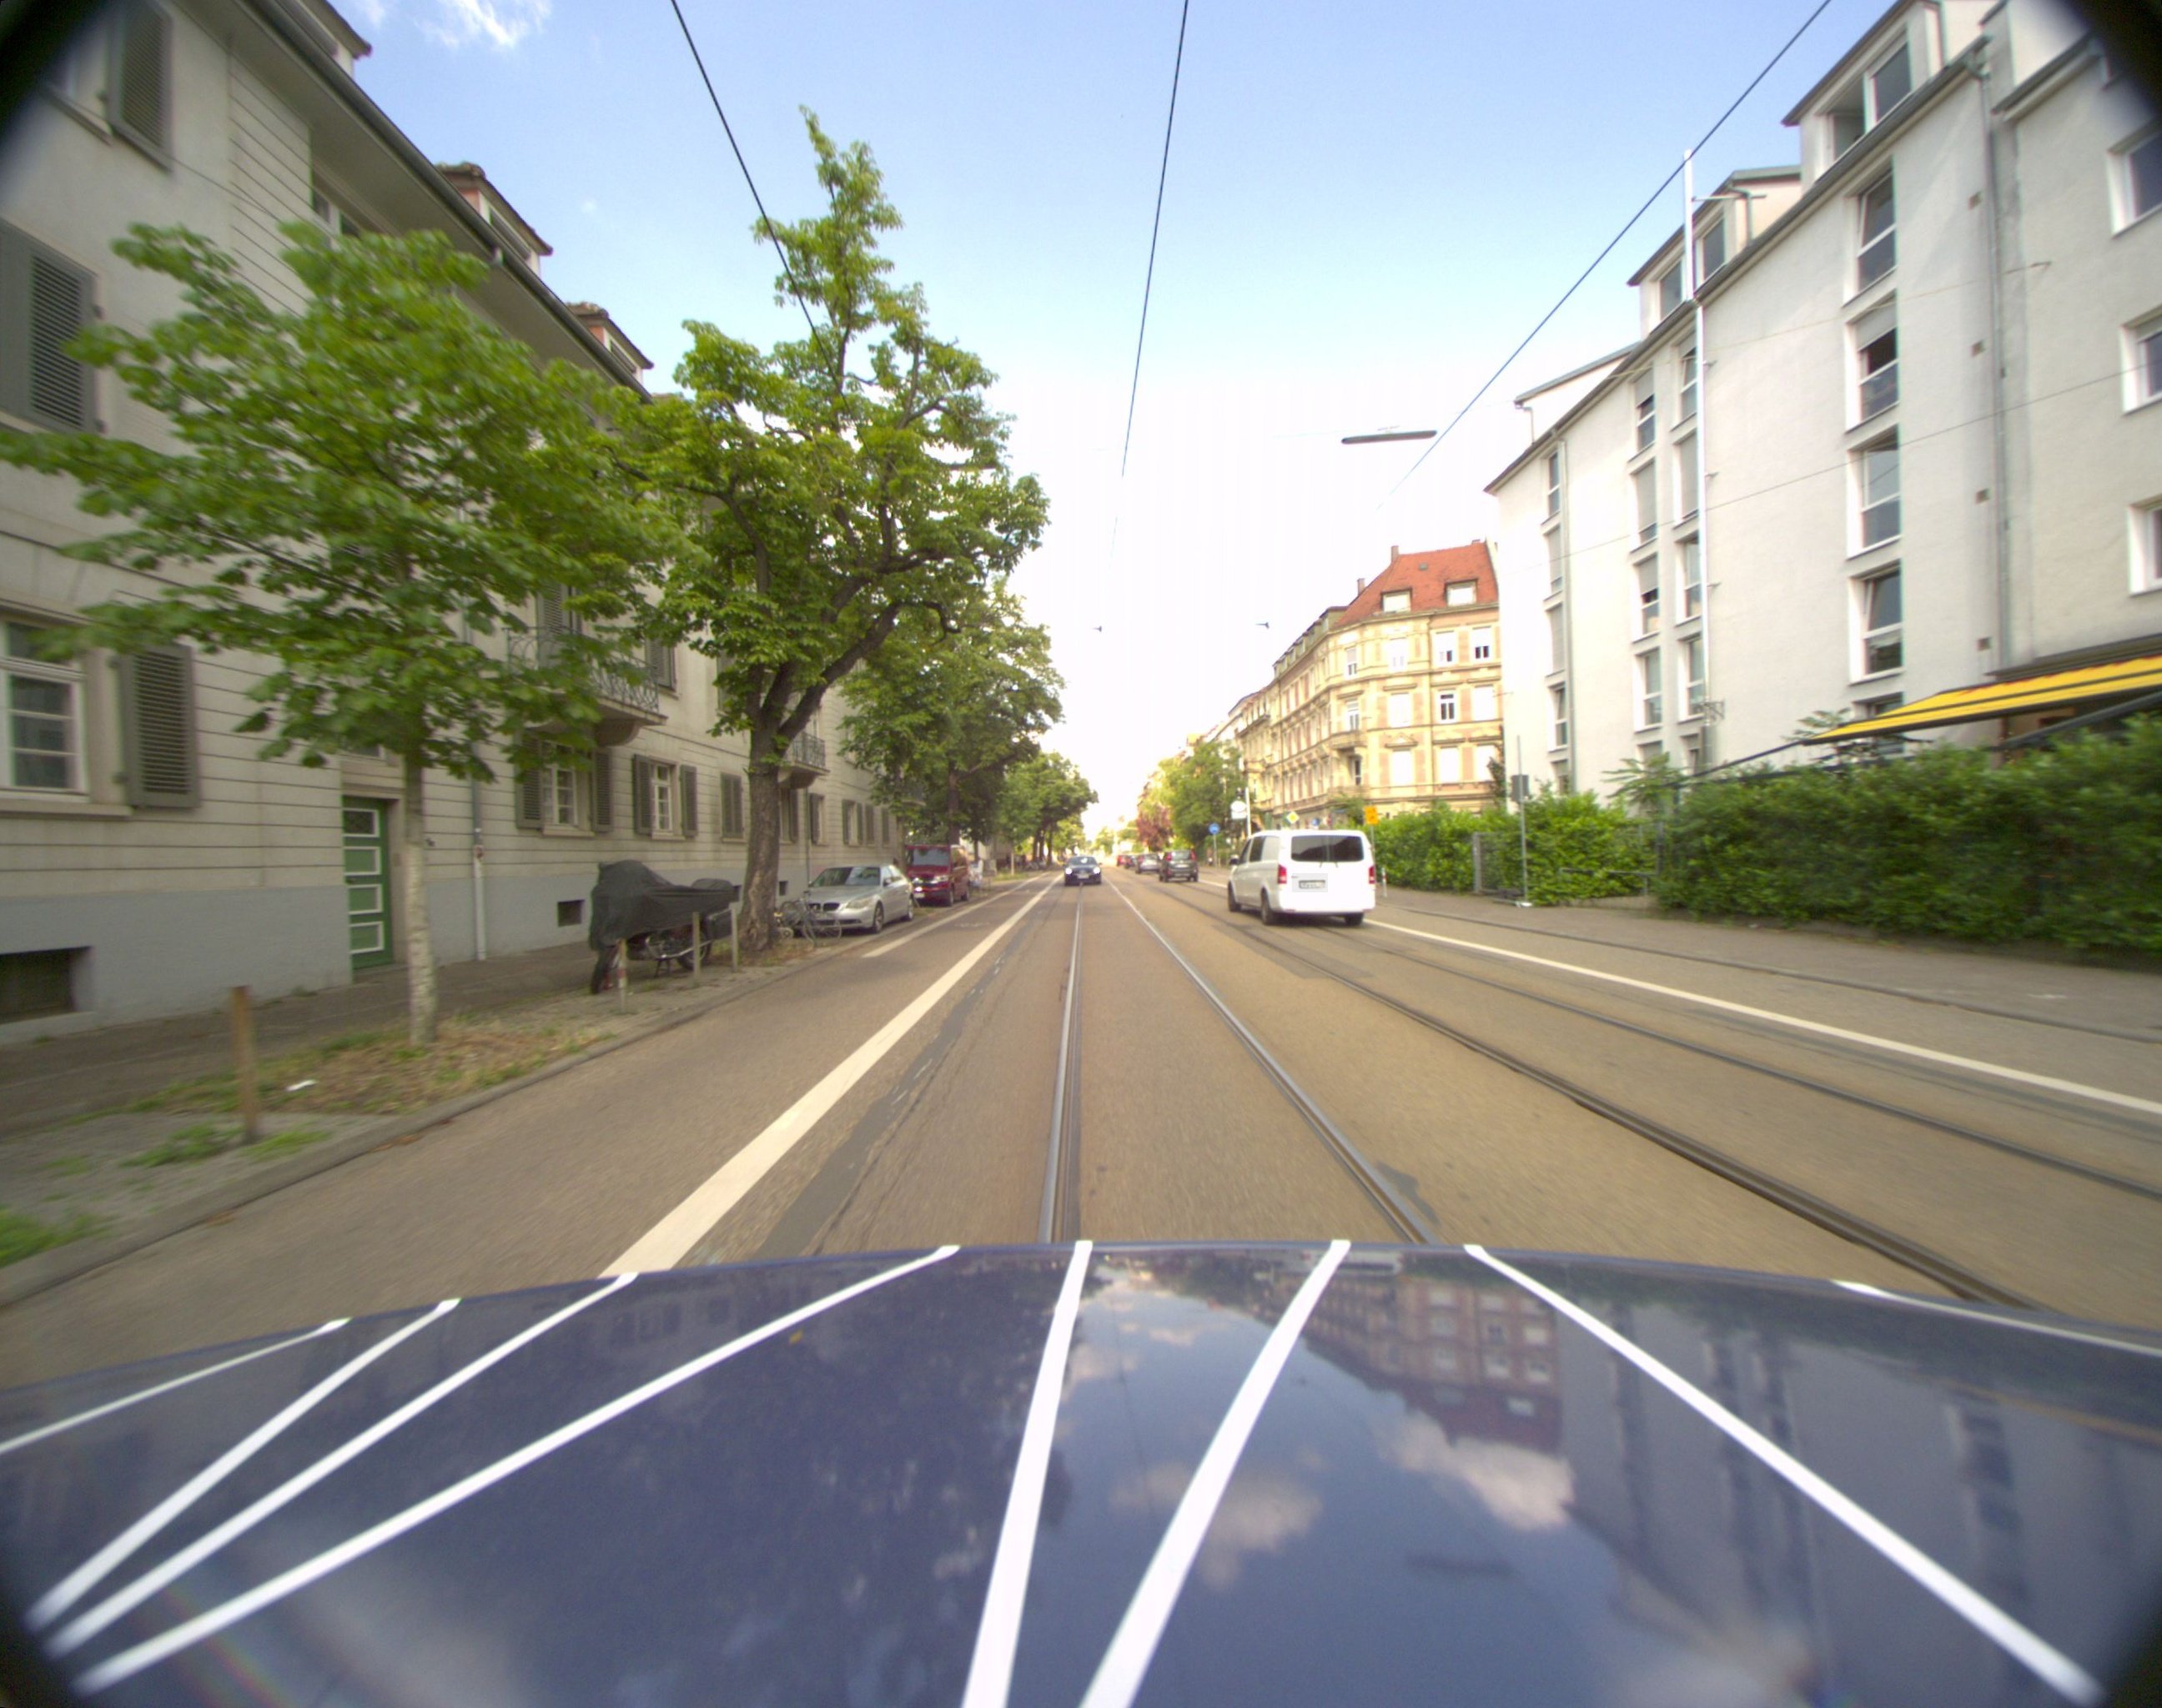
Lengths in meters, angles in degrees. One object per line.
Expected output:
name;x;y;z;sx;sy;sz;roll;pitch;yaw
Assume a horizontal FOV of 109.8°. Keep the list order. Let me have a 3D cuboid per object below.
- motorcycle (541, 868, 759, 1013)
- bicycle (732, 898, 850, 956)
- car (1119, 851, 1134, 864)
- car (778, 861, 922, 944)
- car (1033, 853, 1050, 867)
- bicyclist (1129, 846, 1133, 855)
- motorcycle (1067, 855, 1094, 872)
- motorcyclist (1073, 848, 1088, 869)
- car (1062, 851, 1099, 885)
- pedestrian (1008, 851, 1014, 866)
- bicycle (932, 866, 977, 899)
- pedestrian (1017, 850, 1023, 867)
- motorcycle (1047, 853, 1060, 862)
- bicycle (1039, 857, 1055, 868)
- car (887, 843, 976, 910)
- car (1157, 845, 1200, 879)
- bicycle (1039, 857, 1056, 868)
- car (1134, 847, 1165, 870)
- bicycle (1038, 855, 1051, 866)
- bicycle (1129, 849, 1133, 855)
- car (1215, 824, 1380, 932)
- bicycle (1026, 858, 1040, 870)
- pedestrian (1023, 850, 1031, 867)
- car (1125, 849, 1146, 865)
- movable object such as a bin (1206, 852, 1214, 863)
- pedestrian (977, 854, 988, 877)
motorcycle;-5.328;0.991;9.671;0.982;1.533;2.442;-2;0;12
bicycle;-5.045;1.268;13.284;1.780;0.897;0.692;-2;1;3
car;5.203;0.431;87.633;1.598;1.432;3.936;-1;0;2
car;-4.947;0.959;17.015;1.711;1.490;4.788;-2;0;0
car;-4.394;0.686;84.535;1.589;1.436;3.898;-2;0;0
bicyclist;8.277;-0.558;124.832;0.566;1.417;0.942;-2;1;2
motorcycle;-0.071;0.769;63.557;2.083;1.352;0.743;-2;1;24
motorcyclist;-0.043;0.400;63.531;0.919;1.704;0.742;-2;1;24
car;-0.003;0.677;38.195;1.693;1.568;4.156;-2;0;1
pedestrian;-7.962;0.480;86.242;0.582;1.630;0.976;-2;1;0
bicycle;-4.913;1.087;29.462;1.614;1.196;0.589;-2;1;-3
pedestrian;-6.896;0.497;86.062;0.506;1.842;0.687;-2;1;0
motorcycle;-4.470;0.536;124.227;0.812;1.485;2.065;-2;1;-44
bicycle;-3.535;0.899;79.128;1.650;1.064;0.348;-2;1;4
car;-4.835;0.662;25.258;1.900;1.929;4.950;-2;0;0
car;4.775;0.369;37.480;1.635;1.547;3.821;-2;0;1
bicycle;-3.499;0.921;79.722;1.650;1.064;0.348;-2;1;4
car;4.857;0.287;54.319;1.732;1.531;4.276;-1;0;-1
bicycle;-4.261;0.782;88.693;1.490;1.213;0.518;-2;1;7
bicycle;8.278;-0.363;124.776;0.570;0.984;1.918;-2;0;2
car;4.390;0.418;16.398;1.902;1.896;5.383;-2;0;-1
bicycle;-4.708;0.971;74.597;1.271;1.060;0.478;-2;1;0
pedestrian;-6.121;0.466;86.196;0.755;1.878;0.886;-2;1;0
car;5.200;0.282;72.682;1.632;1.399;4.129;-2;0;0
movable object such as a bin;11.398;0.304;67.226;0.580;0.919;0.641;-2;1;0
pedestrian;-8.059;0.916;62.013;0.619;1.823;1.030;-2;1;3
